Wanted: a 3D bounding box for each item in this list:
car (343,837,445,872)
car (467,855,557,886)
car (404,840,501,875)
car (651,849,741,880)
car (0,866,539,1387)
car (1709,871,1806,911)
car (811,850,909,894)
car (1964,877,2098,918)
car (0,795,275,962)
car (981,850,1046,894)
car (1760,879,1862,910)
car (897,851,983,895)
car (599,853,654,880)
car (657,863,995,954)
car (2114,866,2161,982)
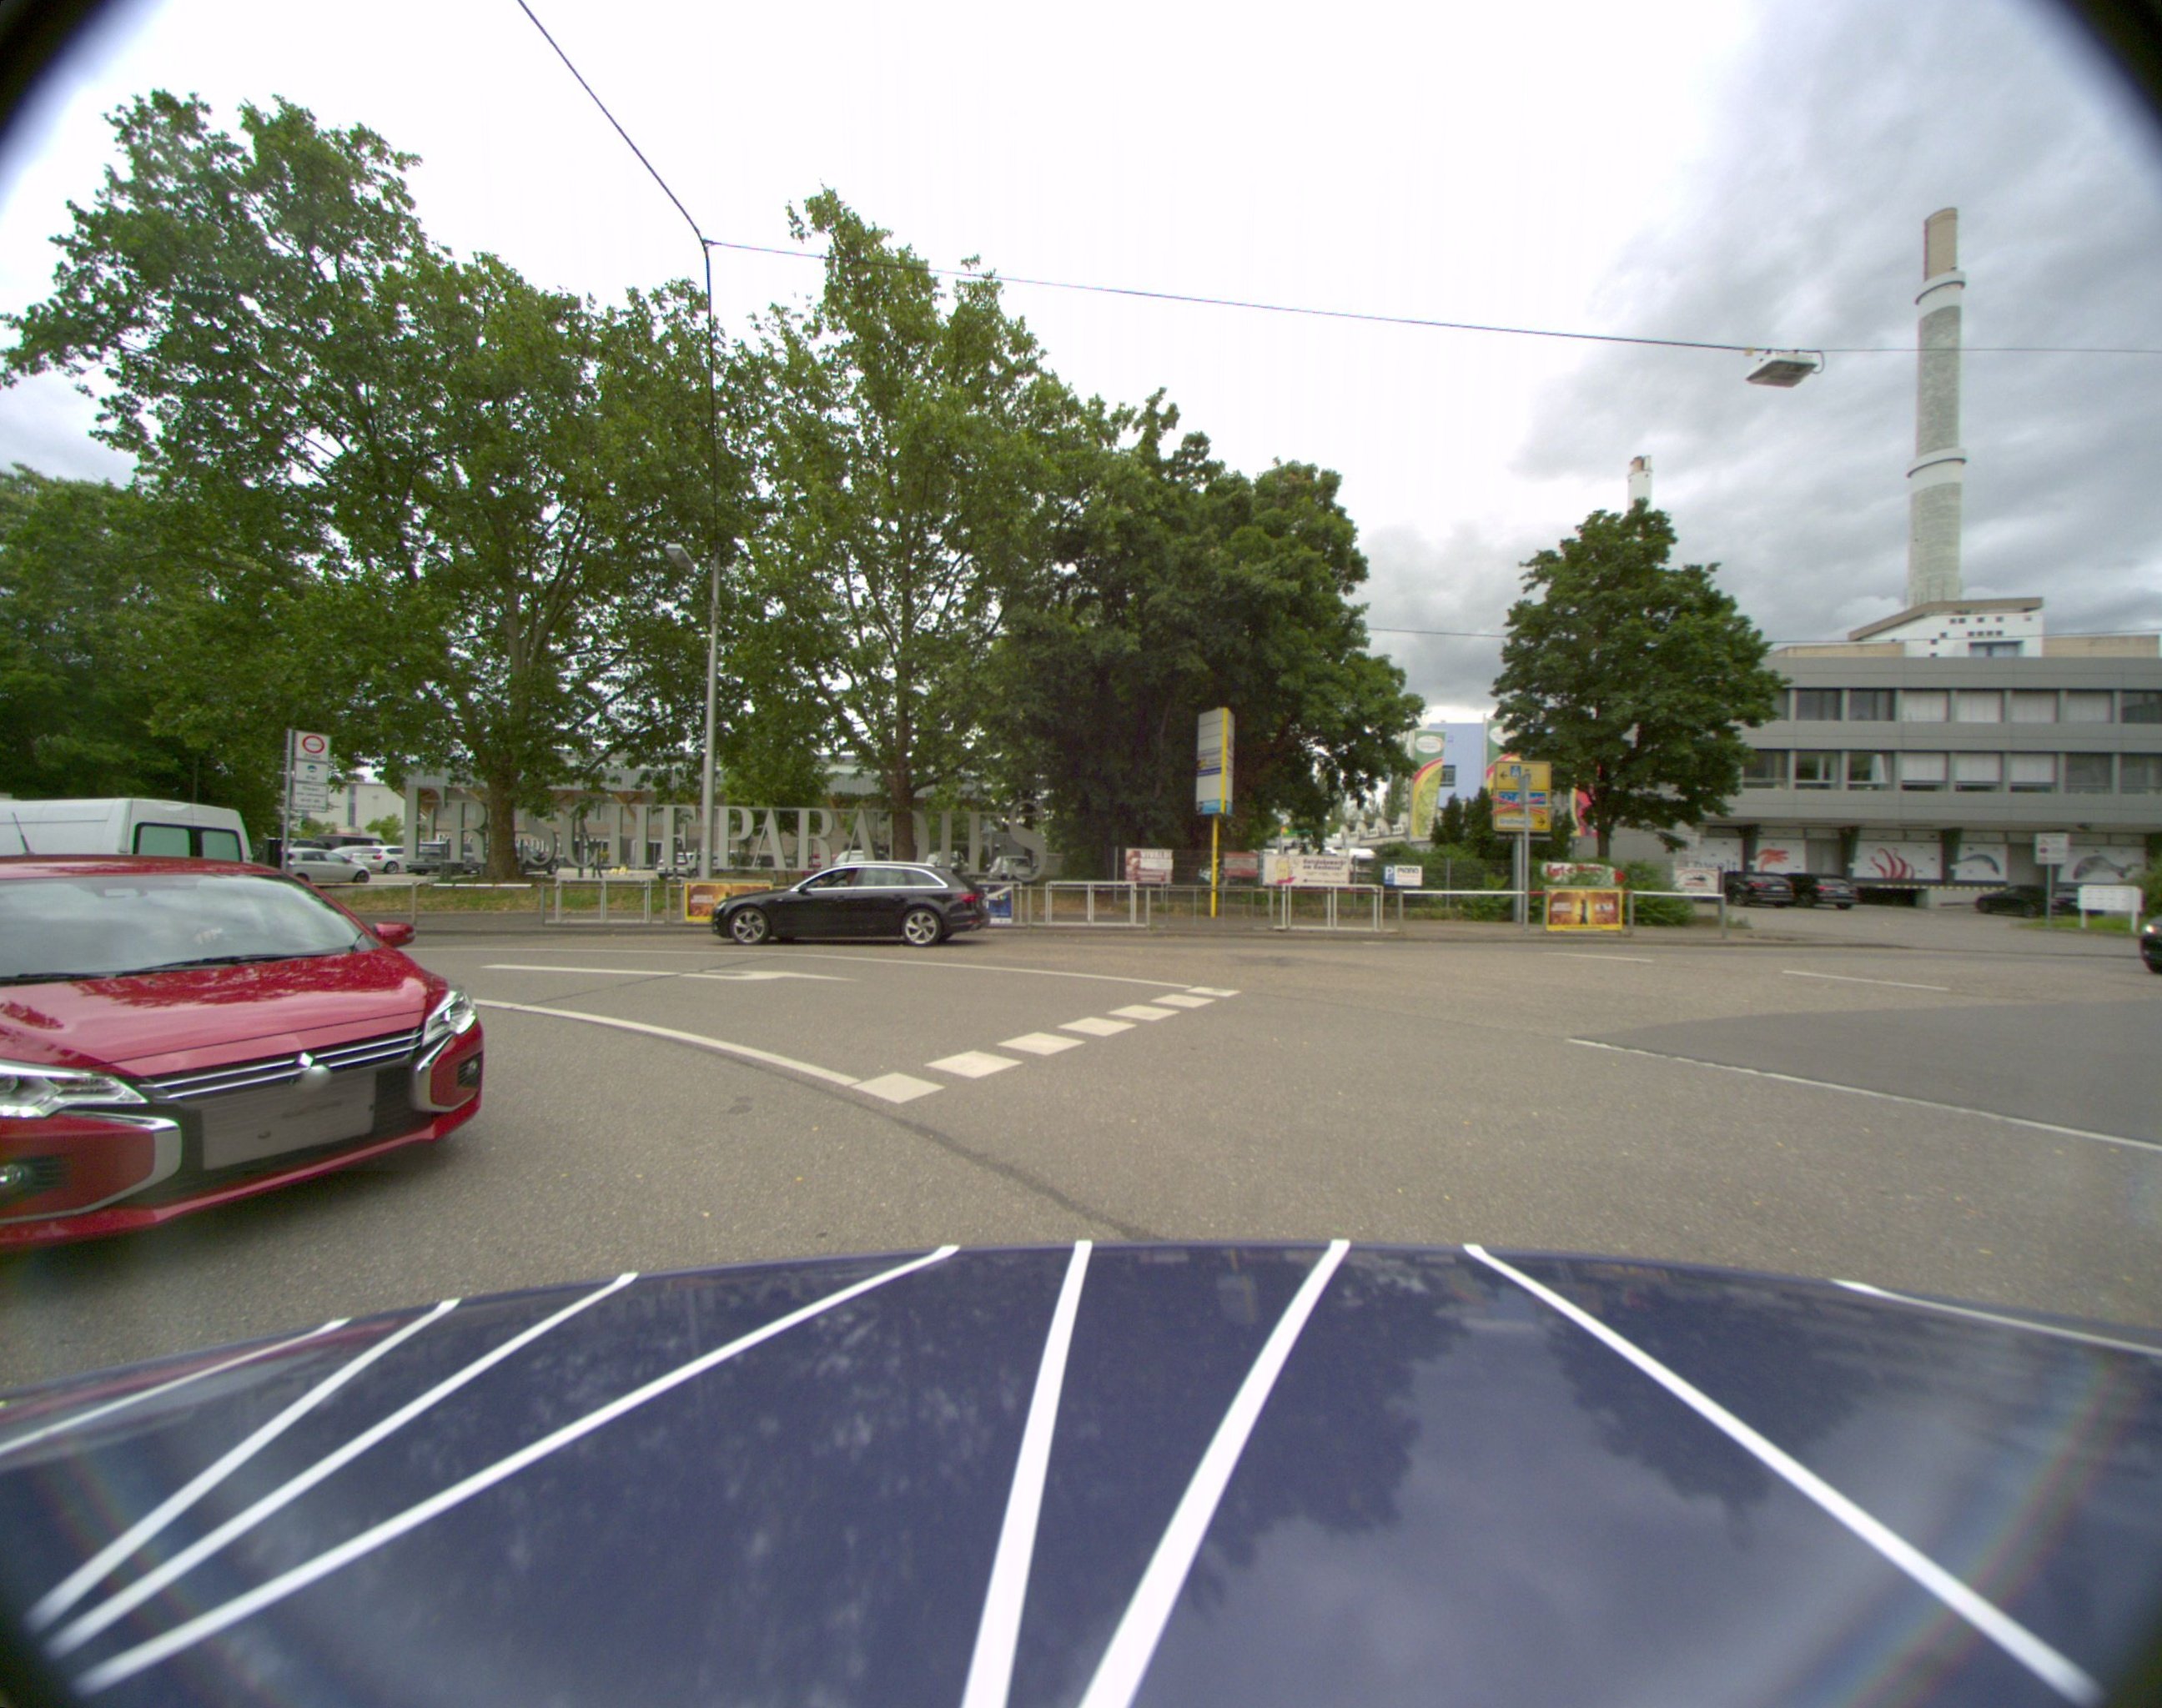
[{"bbox_3d":[-36.253,0.050,40.260,1.916,1.690,3.999,2,-1,-4],"label":"car"},{"bbox_3d":[-29.802,0.875,39.954,1.916,1.499,3.999,2,-1,-4],"label":"car"},{"bbox_3d":[-32.894,0.220,39.932,1.916,1.690,3.999,2,-1,-4],"label":"car"},{"bbox_3d":[-20.316,0.524,40.404,1.937,1.423,5.251,-2,1,1],"label":"car"},{"bbox_3d":[-4.730,0.852,3.651,3.731,1.521,1.771,0,1,23],"label":"car"},{"bbox_3d":[32.499,1.746,36.630,1.775,1.669,3.574,-2,1,8],"label":"car"},{"bbox_3d":[-8.356,0.620,29.265,1.998,1.449,4.701,-2,1,5],"label":"car"},{"bbox_3d":[42.659,1.916,34.258,1.747,1.543,3.612,-2,1,8],"label":"car"},{"bbox_3d":[-18.167,0.457,12.904,6.478,2.527,2.192,-2,1,0],"label":"car"},{"bbox_3d":[-2.508,0.622,29.278,1.998,1.449,4.699,-2,1,0],"label":"car"},{"bbox_3d":[35.001,1.929,36.548,1.775,1.171,3.574,-2,1,8],"label":"car"},{"bbox_3d":[-5.238,0.656,28.870,1.998,1.449,4.701,-2,1,5],"label":"car"},{"bbox_3d":[-31.501,0.838,52.745,1.753,1.674,3.570,-2,1,-3],"label":"car"},{"bbox_3d":[-4.199,0.900,13.226,5.218,1.448,2.000,0,-1,-2],"label":"car"},{"bbox_3d":[18.665,1.169,11.628,4.232,1.761,1.831,3,-1,-13],"label":"car"}]
